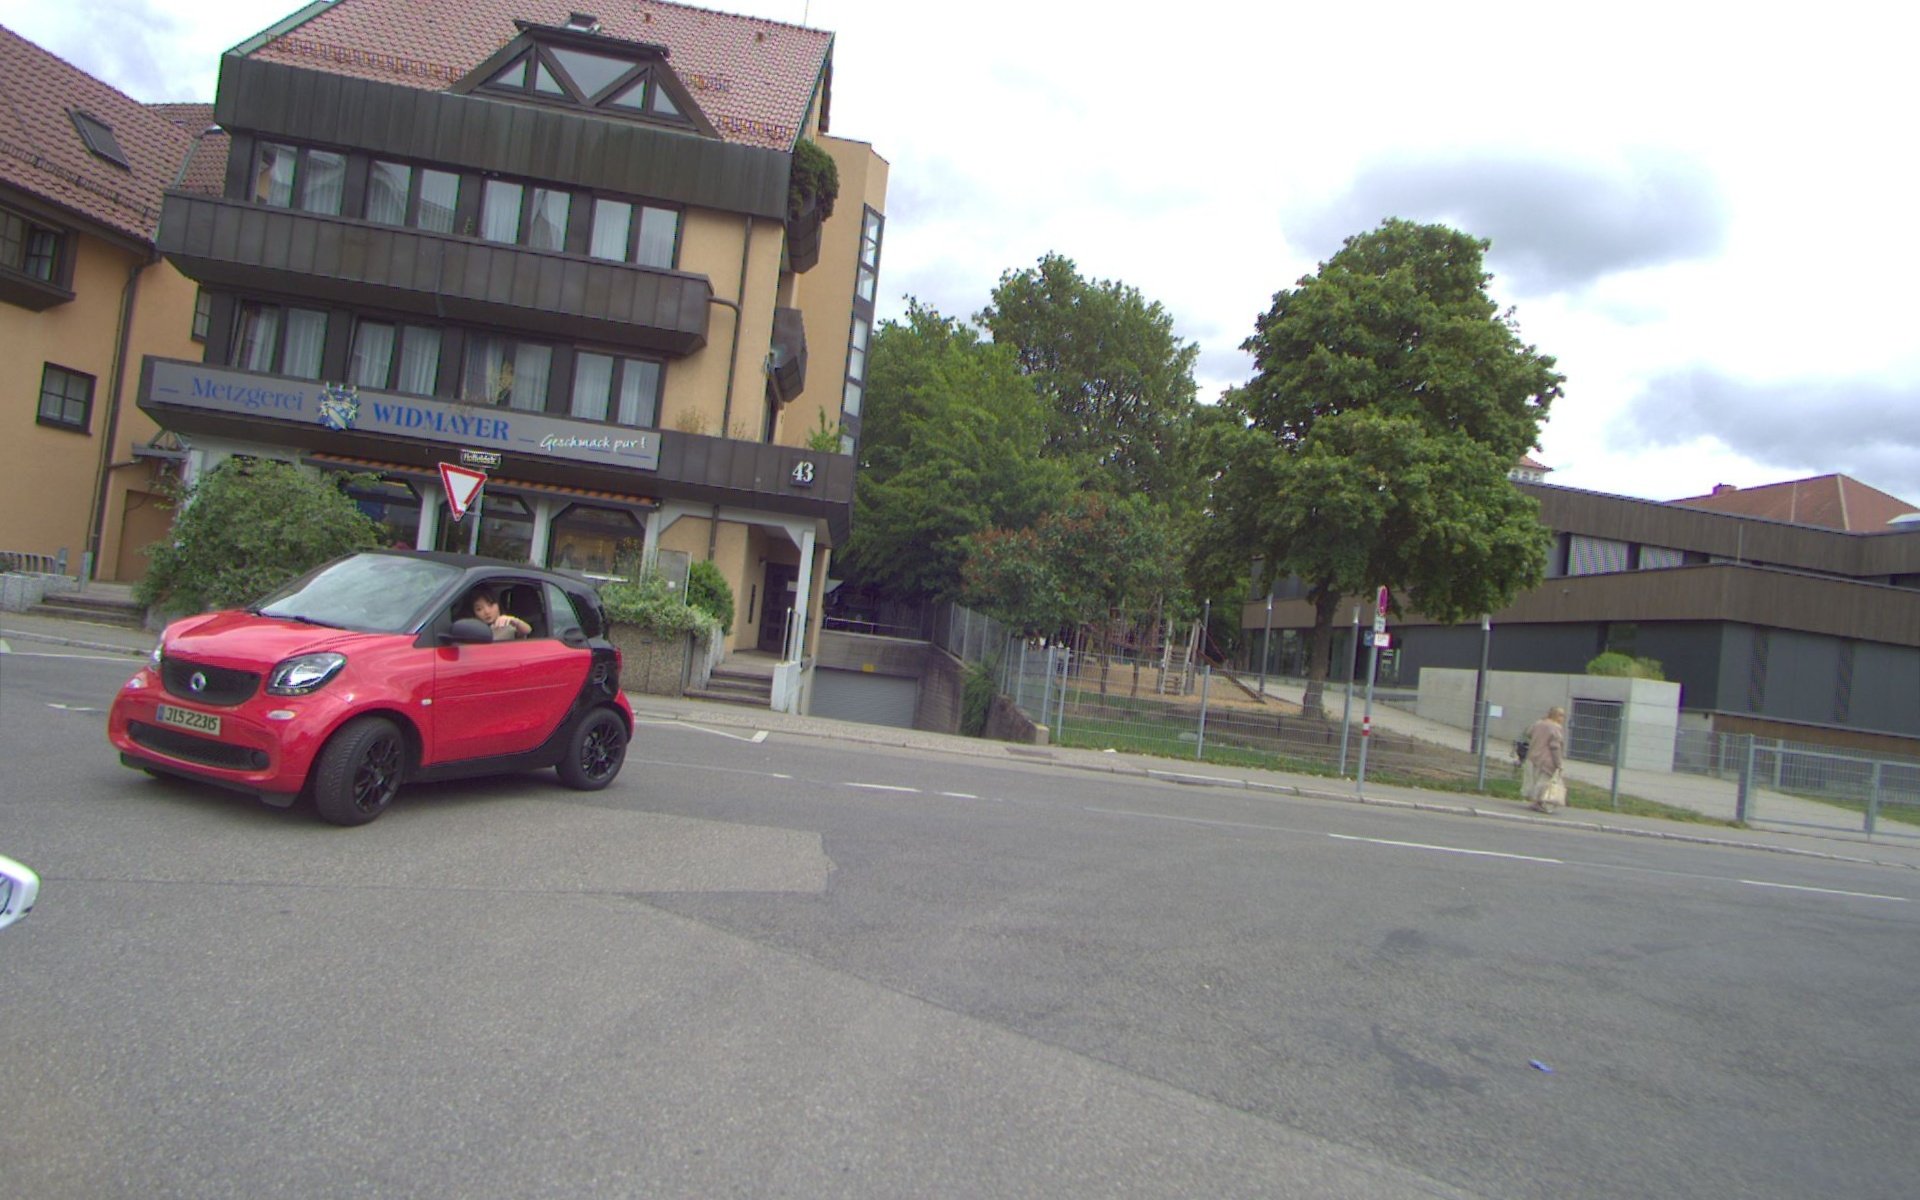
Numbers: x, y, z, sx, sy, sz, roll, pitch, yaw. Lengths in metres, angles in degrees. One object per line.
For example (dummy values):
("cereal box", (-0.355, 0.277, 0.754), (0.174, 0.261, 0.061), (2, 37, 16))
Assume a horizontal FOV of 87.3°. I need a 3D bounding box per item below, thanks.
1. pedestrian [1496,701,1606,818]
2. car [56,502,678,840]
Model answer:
("pedestrian", (8.953, 2.400, 15.279), (0.943, 1.553, 0.900), (7, -1, -6))
("car", (-3.597, 0.423, 6.646), (1.787, 1.538, 2.941), (7, -1, 21))
